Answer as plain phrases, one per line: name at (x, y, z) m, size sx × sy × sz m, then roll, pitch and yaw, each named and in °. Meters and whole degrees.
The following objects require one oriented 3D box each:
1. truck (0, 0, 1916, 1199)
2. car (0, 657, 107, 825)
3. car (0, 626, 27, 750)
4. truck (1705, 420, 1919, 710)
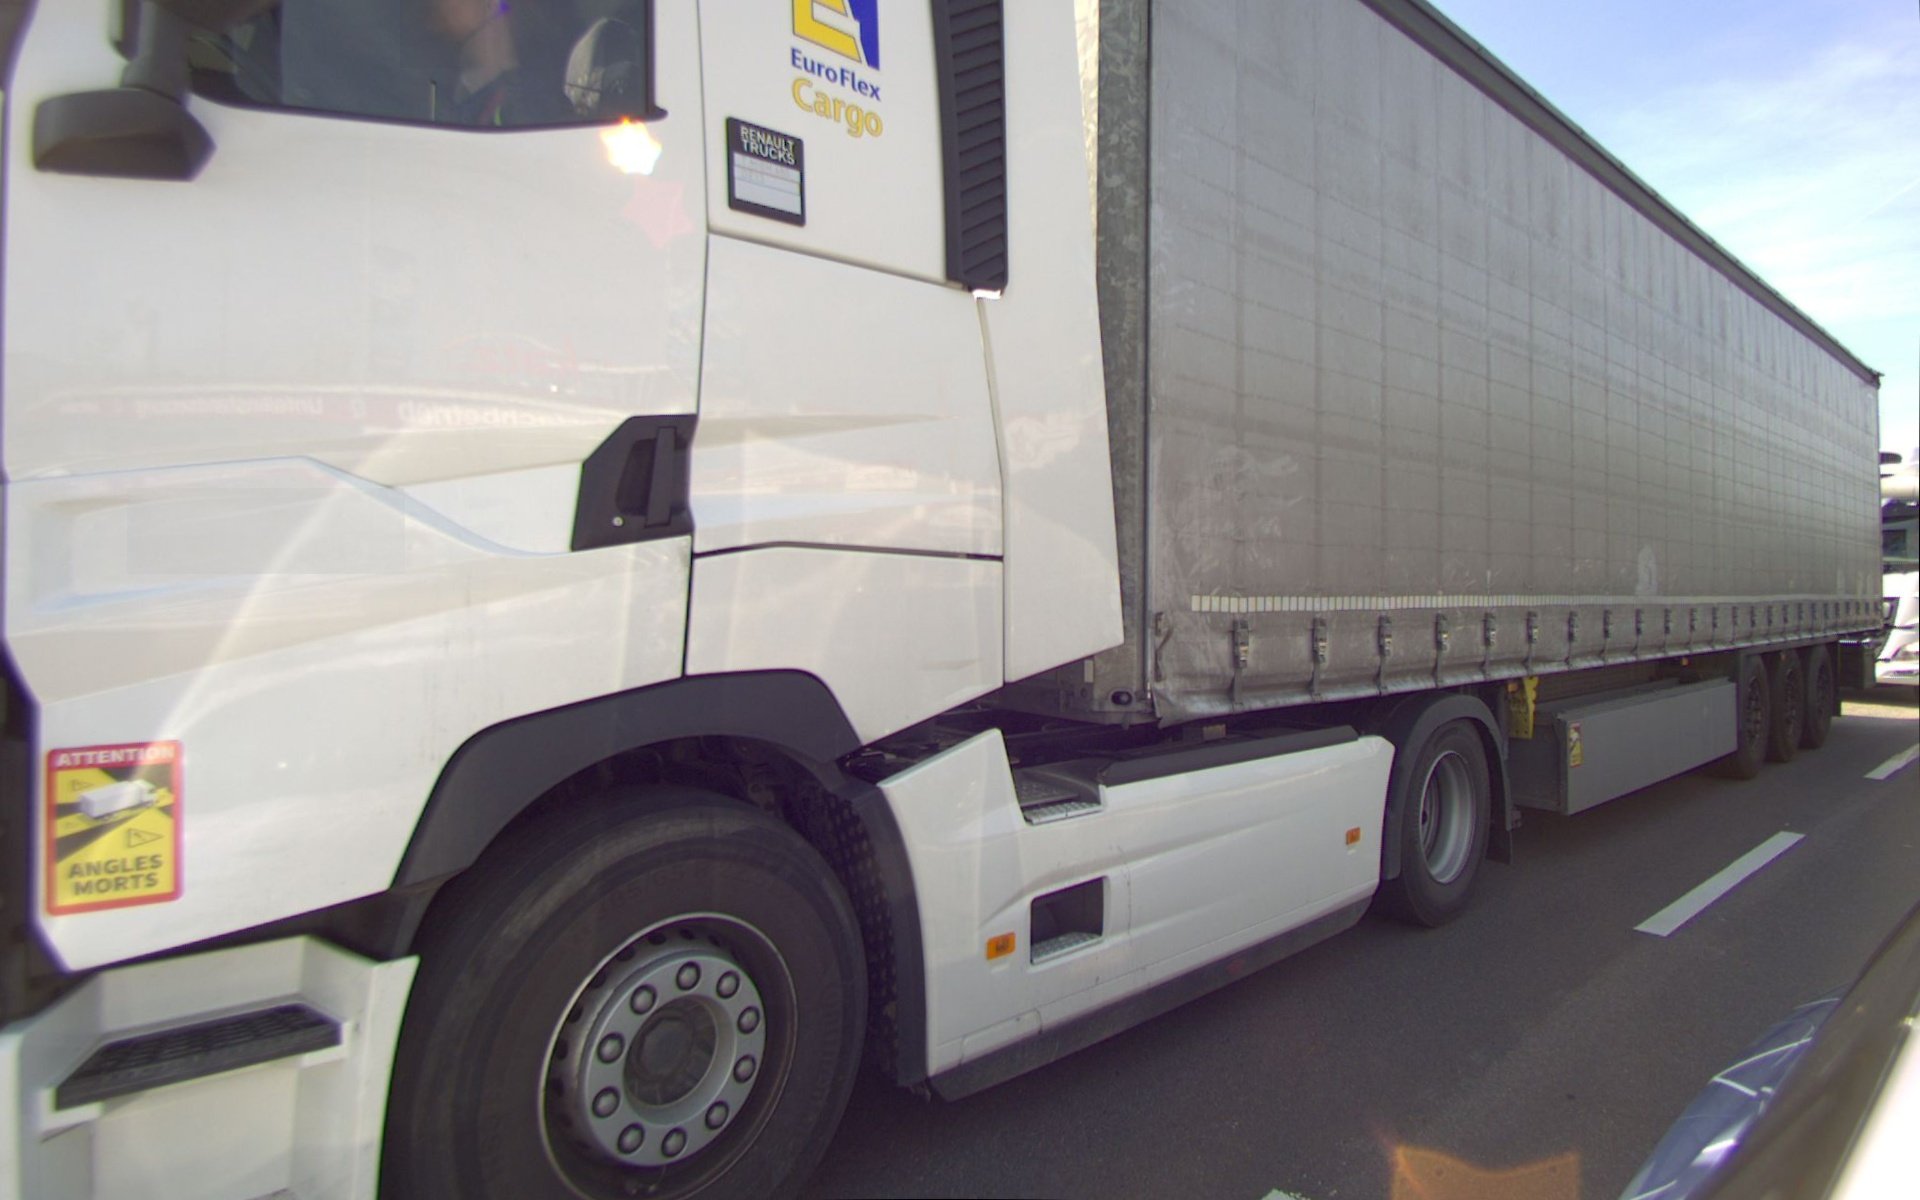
truck at (3.690, -0.718, 7.452) m, size 16.411 × 4.320 × 2.896 m, roll 0°, pitch 0°, yaw -40°
car at (-10.450, 1.284, 9.501) m, size 4.288 × 1.420 × 1.729 m, roll -1°, pitch -1°, yaw 17°
car at (-16.209, 1.319, 14.396) m, size 4.156 × 1.812 × 1.981 m, roll 0°, pitch -1°, yaw -39°
truck at (16.479, -0.491, 17.650) m, size 10.940 × 3.859 × 2.886 m, roll 0°, pitch 0°, yaw -39°
